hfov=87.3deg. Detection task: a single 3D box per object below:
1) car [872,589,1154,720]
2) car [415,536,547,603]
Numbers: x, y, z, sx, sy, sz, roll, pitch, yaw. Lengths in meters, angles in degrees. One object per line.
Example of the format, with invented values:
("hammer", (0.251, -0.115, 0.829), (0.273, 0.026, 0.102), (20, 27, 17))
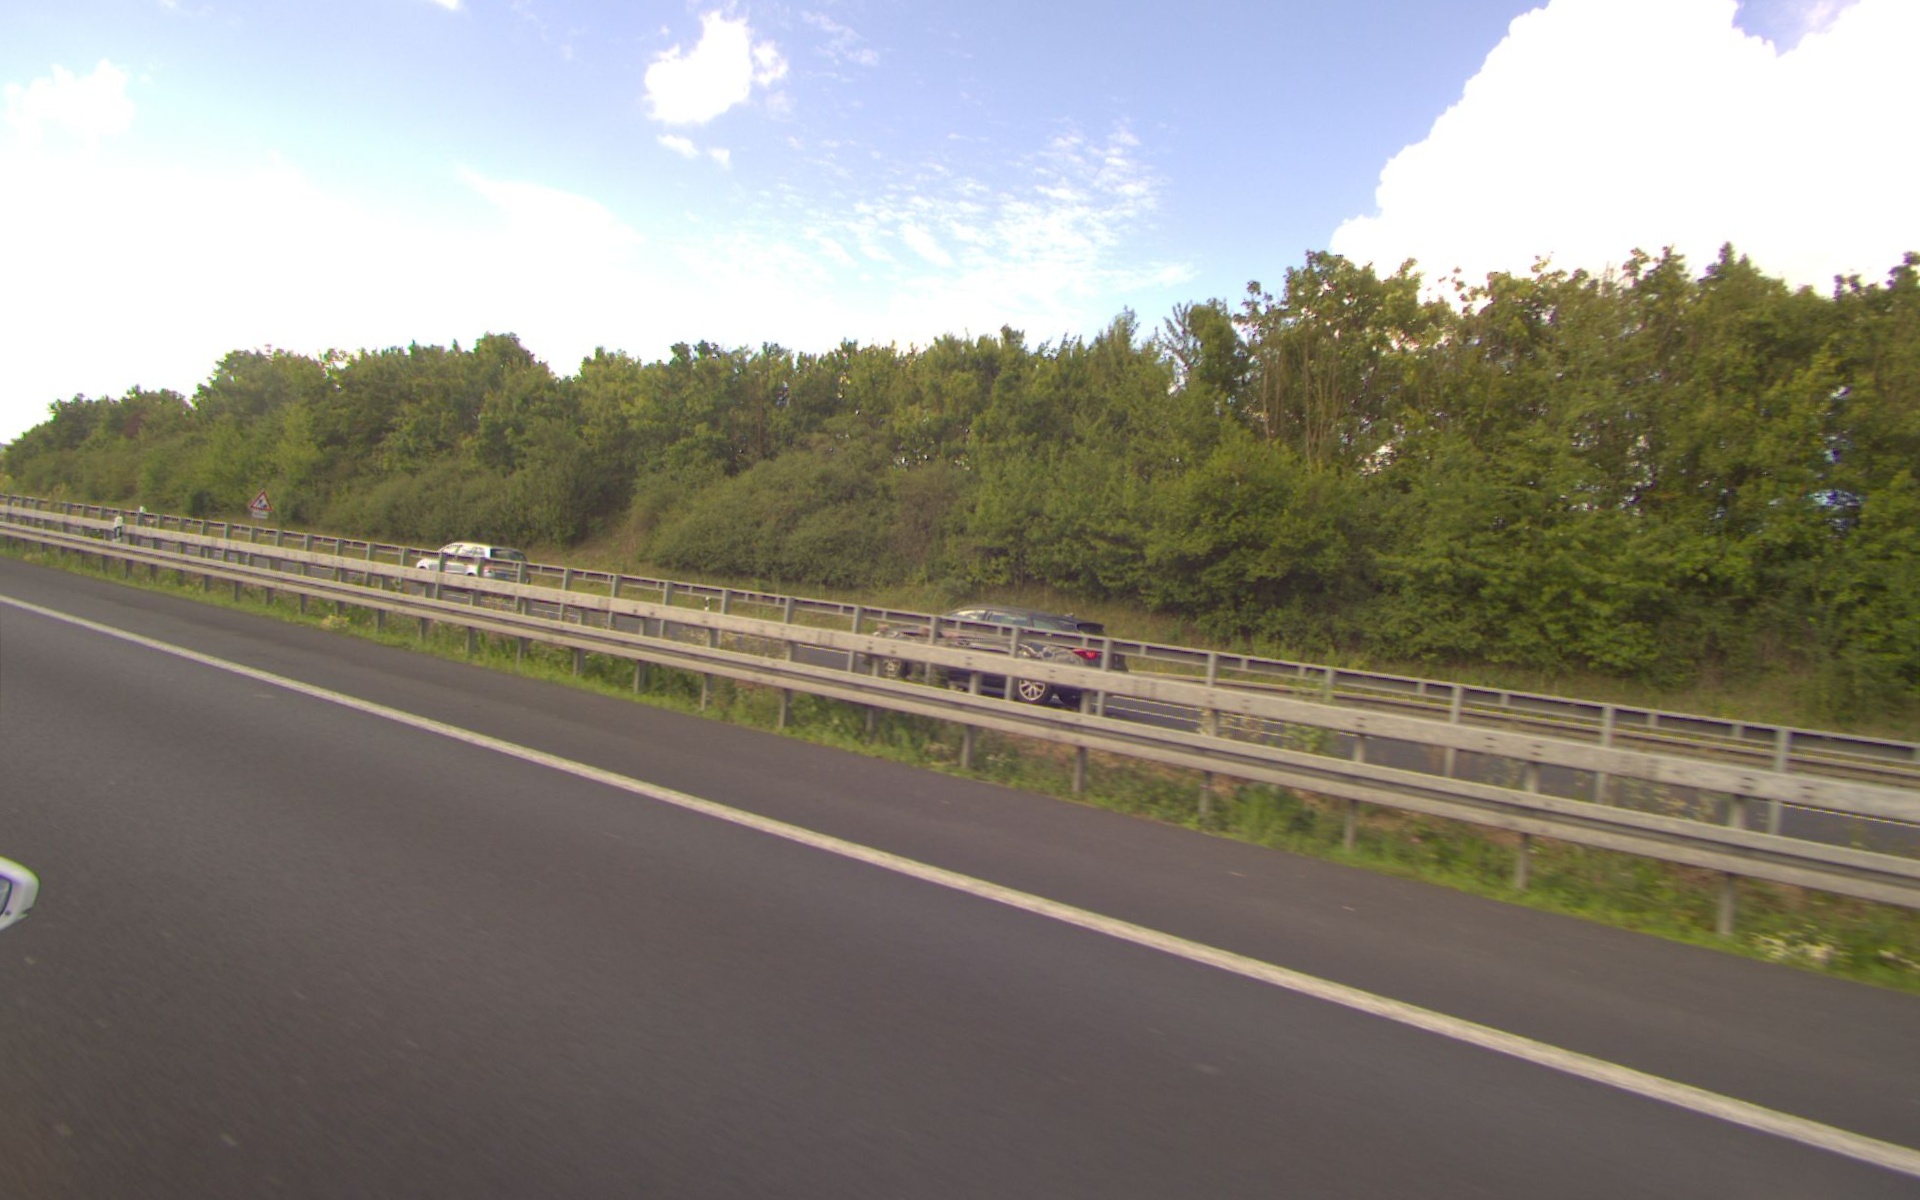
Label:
("car", (0.825, 0.828, 16.130), (3.933, 1.502, 1.996), (7, 0, 31))
("car", (-15.637, -1.004, 32.817), (3.934, 1.730, 1.995), (7, 1, 32))
